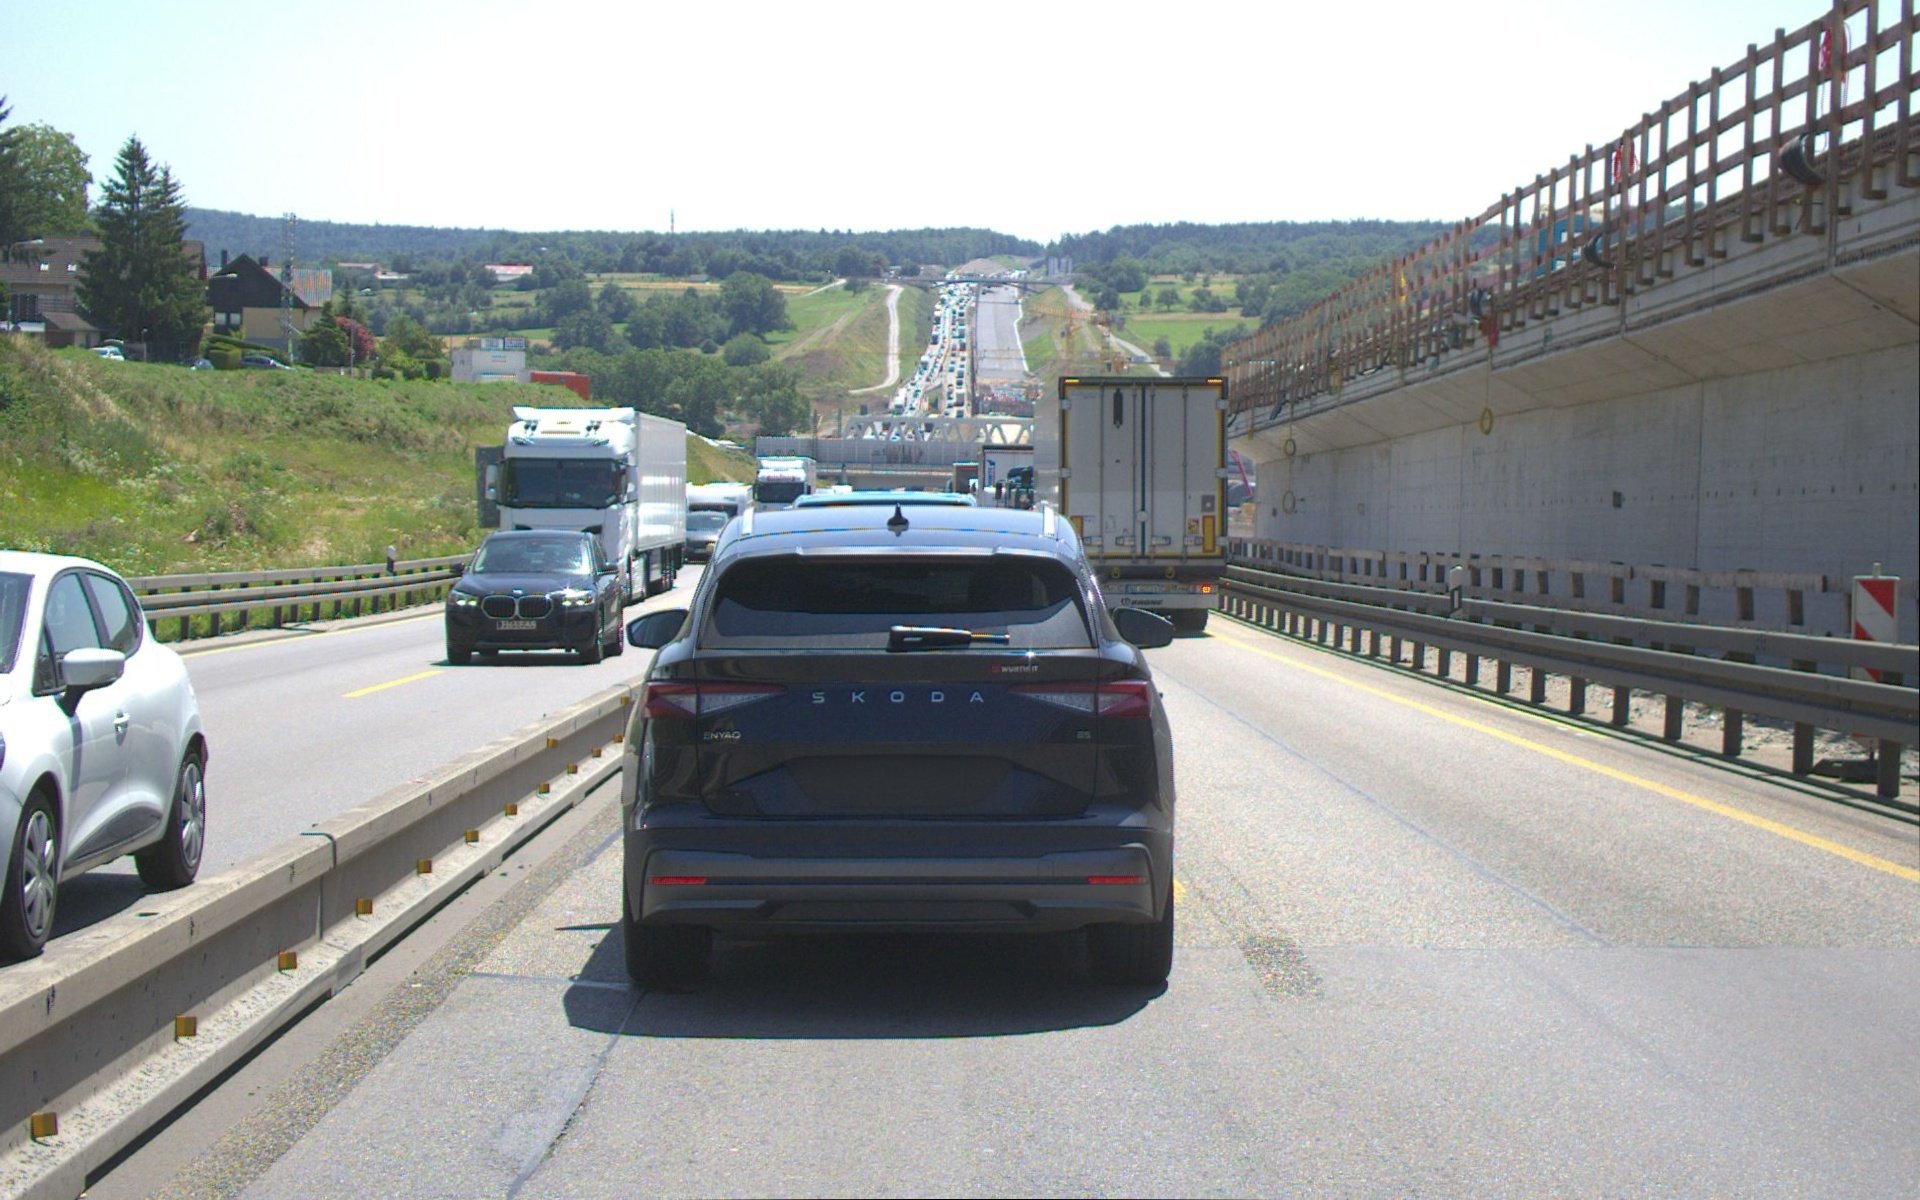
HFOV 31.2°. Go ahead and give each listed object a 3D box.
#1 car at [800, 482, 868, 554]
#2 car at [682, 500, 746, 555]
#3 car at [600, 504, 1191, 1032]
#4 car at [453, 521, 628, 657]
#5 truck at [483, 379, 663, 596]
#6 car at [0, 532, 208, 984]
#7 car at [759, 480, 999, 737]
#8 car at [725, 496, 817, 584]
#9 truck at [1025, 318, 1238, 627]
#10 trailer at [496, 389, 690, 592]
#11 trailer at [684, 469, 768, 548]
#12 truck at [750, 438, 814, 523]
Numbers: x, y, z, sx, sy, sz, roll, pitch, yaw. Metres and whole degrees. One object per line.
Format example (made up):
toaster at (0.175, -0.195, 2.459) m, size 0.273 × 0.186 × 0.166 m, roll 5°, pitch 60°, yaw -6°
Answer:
car at (-3.672, -2.383, 101.104) m, size 1.862 × 2.007 × 4.805 m, roll 1°, pitch 0°, yaw -1°
car at (-7.970, -2.330, 111.501) m, size 1.747 × 1.579 × 4.000 m, roll 4°, pitch 0°, yaw -1°
car at (-0.252, 0.483, 12.365) m, size 1.782 × 1.592 × 3.755 m, roll 1°, pitch 1°, yaw -2°
car at (-5.053, -0.170, 41.828) m, size 1.700 × 1.555 × 4.104 m, roll 1°, pitch 1°, yaw -1°
truck at (-7.890, -2.234, 70.849) m, size 3.180 × 4.223 × 6.485 m, roll 1°, pitch 0°, yaw -3°
car at (-4.084, 0.483, 13.197) m, size 1.691 × 1.481 × 3.750 m, roll 1°, pitch 1°, yaw -2°
car at (-0.717, 0.033, 28.323) m, size 1.749 × 1.888 × 3.756 m, roll 3°, pitch 1°, yaw -3°
car at (-4.038, -1.298, 74.171) m, size 1.775 × 1.814 × 4.434 m, roll 1°, pitch 1°, yaw -1°
truck at (2.709, -1.967, 58.044) m, size 2.846 × 4.599 × 11.811 m, roll 2°, pitch 0°, yaw 0°
trailer at (-8.071, -2.398, 77.448) m, size 3.220 × 4.144 × 13.409 m, roll 0°, pitch 1°, yaw -1°
trailer at (-8.141, -3.169, 119.995) m, size 2.485 × 2.604 × 5.867 m, roll 0°, pitch 0°, yaw 0°
truck at (-9.037, -6.047, 175.043) m, size 2.753 × 4.212 × 8.100 m, roll 1°, pitch 1°, yaw 0°
